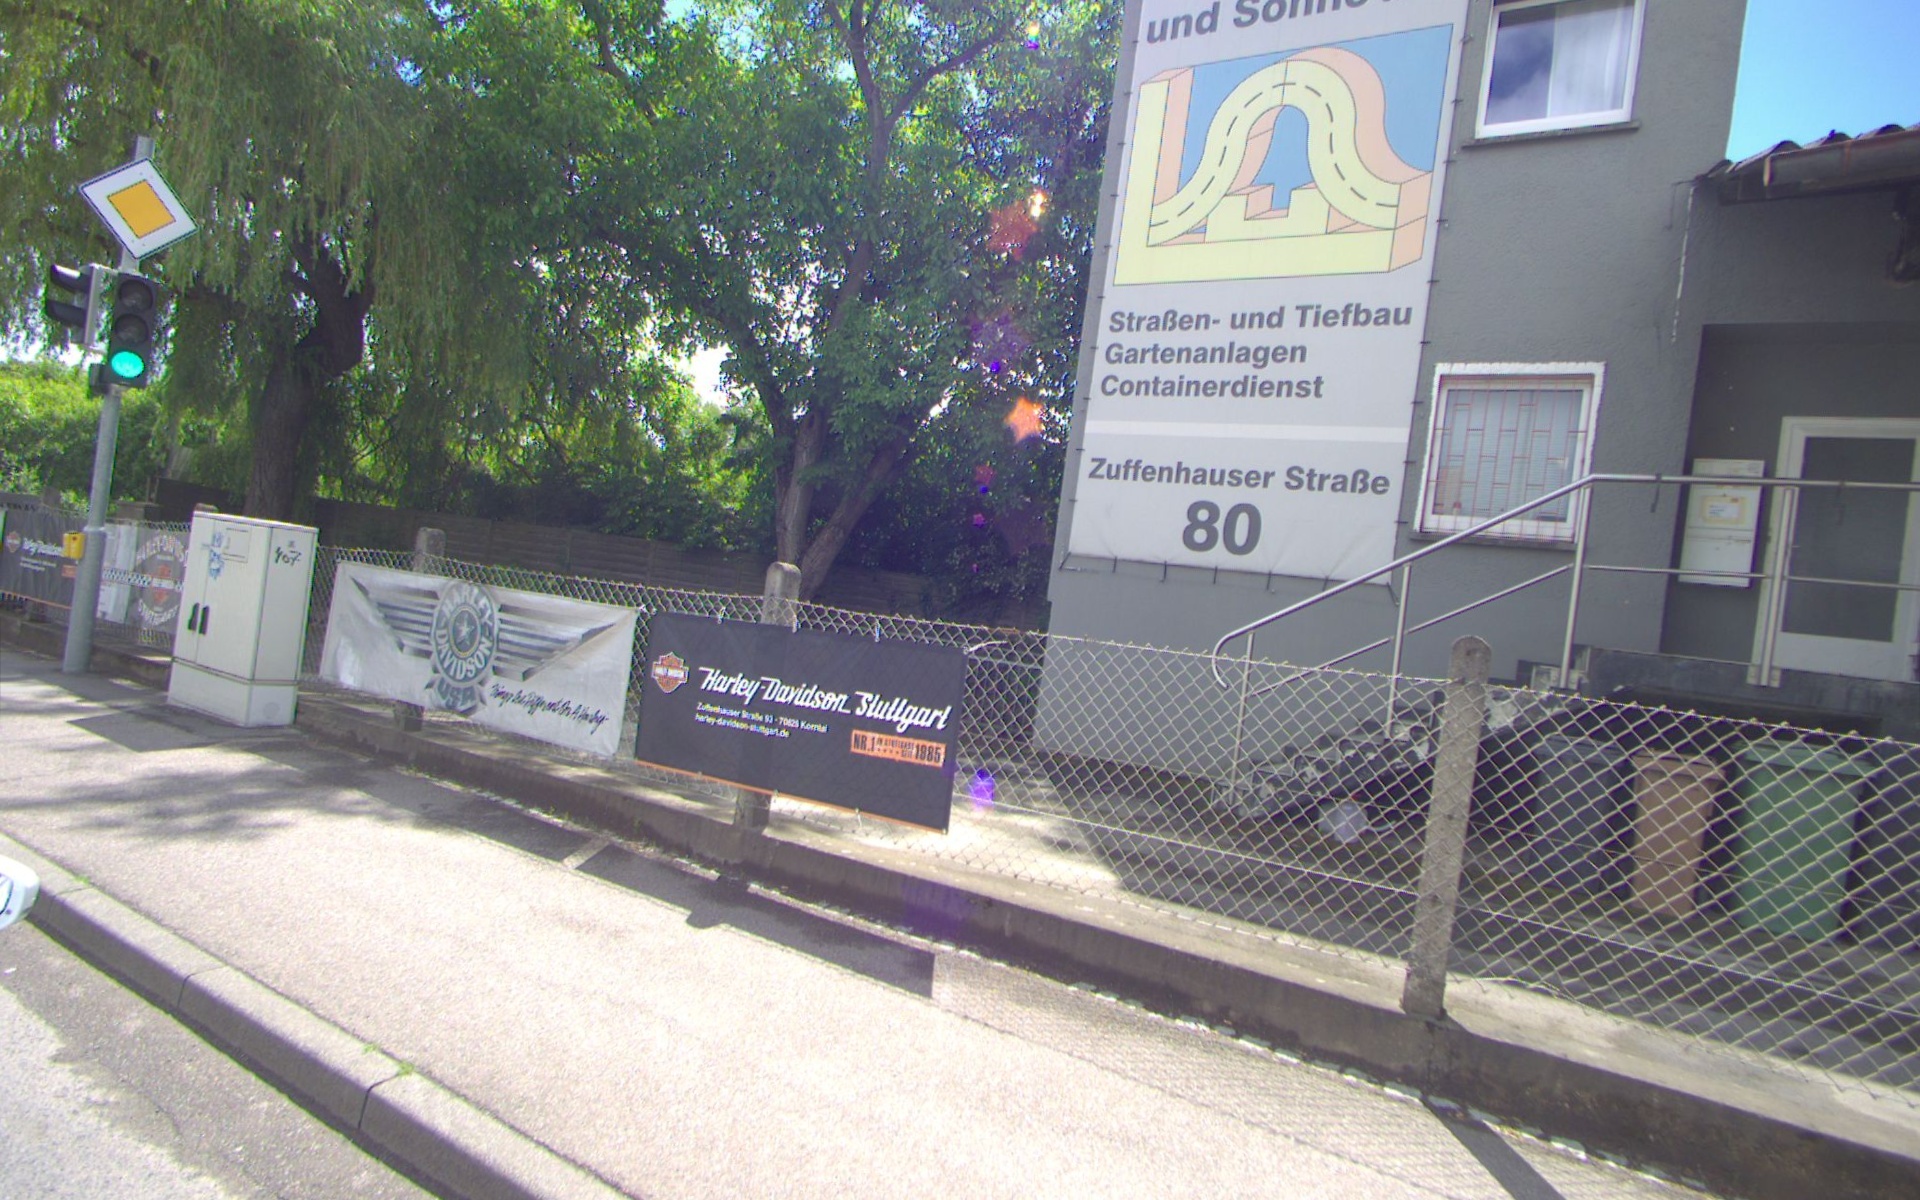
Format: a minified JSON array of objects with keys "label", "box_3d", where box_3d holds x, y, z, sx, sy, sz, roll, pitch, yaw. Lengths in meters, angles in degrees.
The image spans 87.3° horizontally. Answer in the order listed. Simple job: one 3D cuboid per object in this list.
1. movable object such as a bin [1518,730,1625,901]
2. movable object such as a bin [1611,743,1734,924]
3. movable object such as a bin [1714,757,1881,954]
[{"label":"movable object such as a bin","box_3d":[3.809,1.319,6.295,0.466,0.941,0.482,7,-1,30]},{"label":"movable object such as a bin","box_3d":[4.254,1.368,6.032,0.466,0.941,0.482,7,-1,30]},{"label":"movable object such as a bin","box_3d":[4.751,1.422,5.741,0.574,0.941,0.482,6,-1,30]}]
